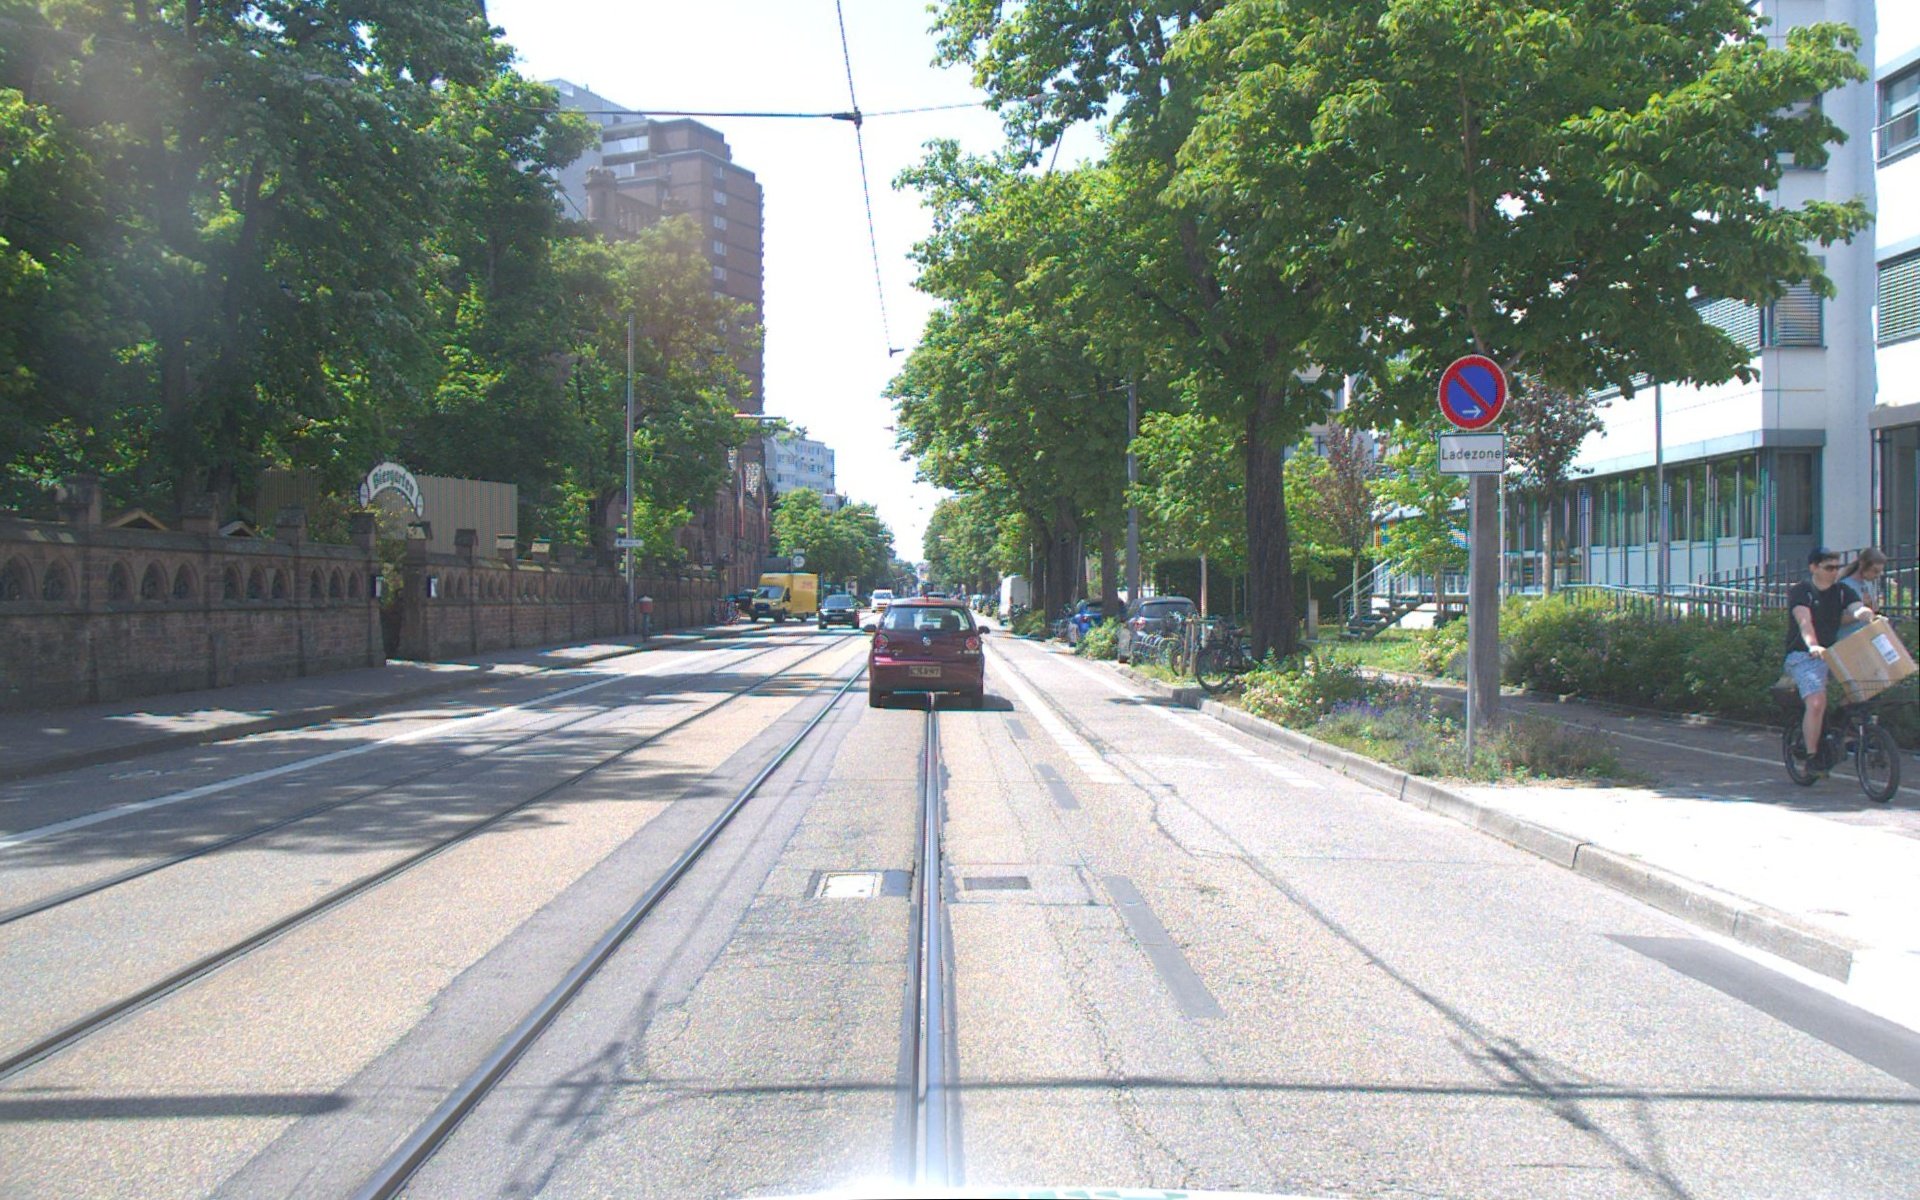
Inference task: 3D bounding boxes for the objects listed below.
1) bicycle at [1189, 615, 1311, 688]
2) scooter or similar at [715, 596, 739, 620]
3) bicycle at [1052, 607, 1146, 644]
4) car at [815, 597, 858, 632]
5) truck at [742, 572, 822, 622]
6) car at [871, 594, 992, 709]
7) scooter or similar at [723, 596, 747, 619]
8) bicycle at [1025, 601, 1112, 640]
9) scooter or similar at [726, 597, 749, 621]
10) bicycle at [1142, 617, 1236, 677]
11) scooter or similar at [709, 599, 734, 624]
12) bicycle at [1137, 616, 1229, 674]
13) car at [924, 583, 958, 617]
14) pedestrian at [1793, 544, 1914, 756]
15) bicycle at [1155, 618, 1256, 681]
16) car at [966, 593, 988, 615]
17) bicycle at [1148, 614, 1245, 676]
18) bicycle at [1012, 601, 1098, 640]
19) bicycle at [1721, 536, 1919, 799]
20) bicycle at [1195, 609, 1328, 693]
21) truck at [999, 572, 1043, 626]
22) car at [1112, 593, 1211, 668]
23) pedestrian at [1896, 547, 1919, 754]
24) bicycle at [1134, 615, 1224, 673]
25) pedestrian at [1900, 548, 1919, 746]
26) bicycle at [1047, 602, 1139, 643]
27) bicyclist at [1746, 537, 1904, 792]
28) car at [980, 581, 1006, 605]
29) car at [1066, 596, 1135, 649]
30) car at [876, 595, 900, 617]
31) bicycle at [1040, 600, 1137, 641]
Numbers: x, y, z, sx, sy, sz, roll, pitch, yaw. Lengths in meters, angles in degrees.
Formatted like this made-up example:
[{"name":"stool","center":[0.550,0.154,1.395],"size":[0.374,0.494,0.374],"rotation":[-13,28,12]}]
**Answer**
[{"name":"bicycle","center":[4.536,0.806,25.948],"size":[1.787,1.104,0.719],"rotation":[-1,-1,2]},{"name":"scooter or similar","center":[-11.656,0.382,82.609],"size":[1.073,1.175,0.524],"rotation":[1,0,-22]},{"name":"bicycle","center":[4.593,0.834,54.733],"size":[3.008,1.175,0.781],"rotation":[1,0,-3]},{"name":"car","center":[-5.622,0.638,75.682],"size":[1.734,1.542,3.999],"rotation":[0,0,-1]},{"name":"truck","center":[-10.501,-0.181,98.130],"size":[2.319,2.835,7.325],"rotation":[0,0,14]},{"name":"car","center":[-0.435,0.674,23.923],"size":[1.586,1.512,3.999],"rotation":[0,0,-2]},{"name":"scooter or similar","center":[-11.352,0.376,83.483],"size":[1.073,1.175,0.524],"rotation":[1,0,-22]},{"name":"bicycle","center":[3.865,0.720,58.955],"size":[3.008,1.336,0.781],"rotation":[1,0,-3]},{"name":"scooter or similar","center":[-11.309,0.458,84.142],"size":[1.073,1.175,0.524],"rotation":[1,0,-22]},{"name":"bicycle","center":[4.379,0.892,31.660],"size":[1.715,1.104,0.548],"rotation":[0,0,-1]},{"name":"scooter or similar","center":[-11.547,0.546,80.068],"size":[1.073,1.175,0.524],"rotation":[1,0,-22]},{"name":"bicycle","center":[4.349,0.879,32.256],"size":[1.715,1.104,0.548],"rotation":[0,0,-1]},{"name":"car","center":[-1.209,-0.013,104.810],"size":[1.954,2.049,3.998],"rotation":[1,0,-3]},{"name":"pedestrian","center":[7.983,0.430,14.785],"size":[0.671,1.828,0.667],"rotation":[-2,0,-32]},{"name":"bicycle","center":[4.406,0.882,29.733],"size":[1.715,1.104,0.548],"rotation":[0,0,-1]},{"name":"car","center":[1.355,0.336,134.983],"size":[1.640,1.685,3.999],"rotation":[1,0,-1]},{"name":"bicycle","center":[4.392,0.831,30.761],"size":[1.715,1.104,0.548],"rotation":[0,0,-1]},{"name":"bicycle","center":[3.424,0.746,59.787],"size":[3.008,1.336,0.781],"rotation":[1,0,-3]},{"name":"bicycle","center":[6.488,0.479,12.454],"size":[0.675,1.816,1.811],"rotation":[-2,-1,2]},{"name":"bicycle","center":[4.491,0.746,24.705],"size":[1.845,1.203,0.694],"rotation":[-1,0,-1]},{"name":"truck","center":[3.167,-0.064,86.469],"size":[1.953,2.708,4.874],"rotation":[1,0,-1]},{"name":"car","center":[4.461,0.646,37.049],"size":[1.654,1.529,3.626],"rotation":[-2,0,-1]},{"name":"pedestrian","center":[8.389,0.419,14.004],"size":[0.531,1.745,0.560],"rotation":[-2,-1,-30]},{"name":"bicycle","center":[4.355,0.870,32.905],"size":[1.715,1.104,0.548],"rotation":[0,0,-1]},{"name":"pedestrian","center":[8.737,0.403,14.561],"size":[0.531,1.745,0.560],"rotation":[-2,-1,-30]},{"name":"bicycle","center":[4.496,0.766,55.949],"size":[3.008,1.336,0.781],"rotation":[1,0,-3]},{"name":"bicyclist","center":[6.495,0.471,12.461],"size":[0.682,1.831,0.888],"rotation":[-2,-1,2]},{"name":"car","center":[2.329,-0.525,118.096],"size":[1.640,1.685,3.999],"rotation":[1,0,-1]},{"name":"car","center":[4.131,0.652,49.134],"size":[1.654,1.494,3.878],"rotation":[0,0,-1]},{"name":"car","center":[-6.218,0.511,143.718],"size":[1.953,1.887,4.681],"rotation":[0,0,-1]},{"name":"bicycle","center":[4.506,0.717,57.960],"size":[3.300,1.336,0.781],"rotation":[1,0,-3]}]
